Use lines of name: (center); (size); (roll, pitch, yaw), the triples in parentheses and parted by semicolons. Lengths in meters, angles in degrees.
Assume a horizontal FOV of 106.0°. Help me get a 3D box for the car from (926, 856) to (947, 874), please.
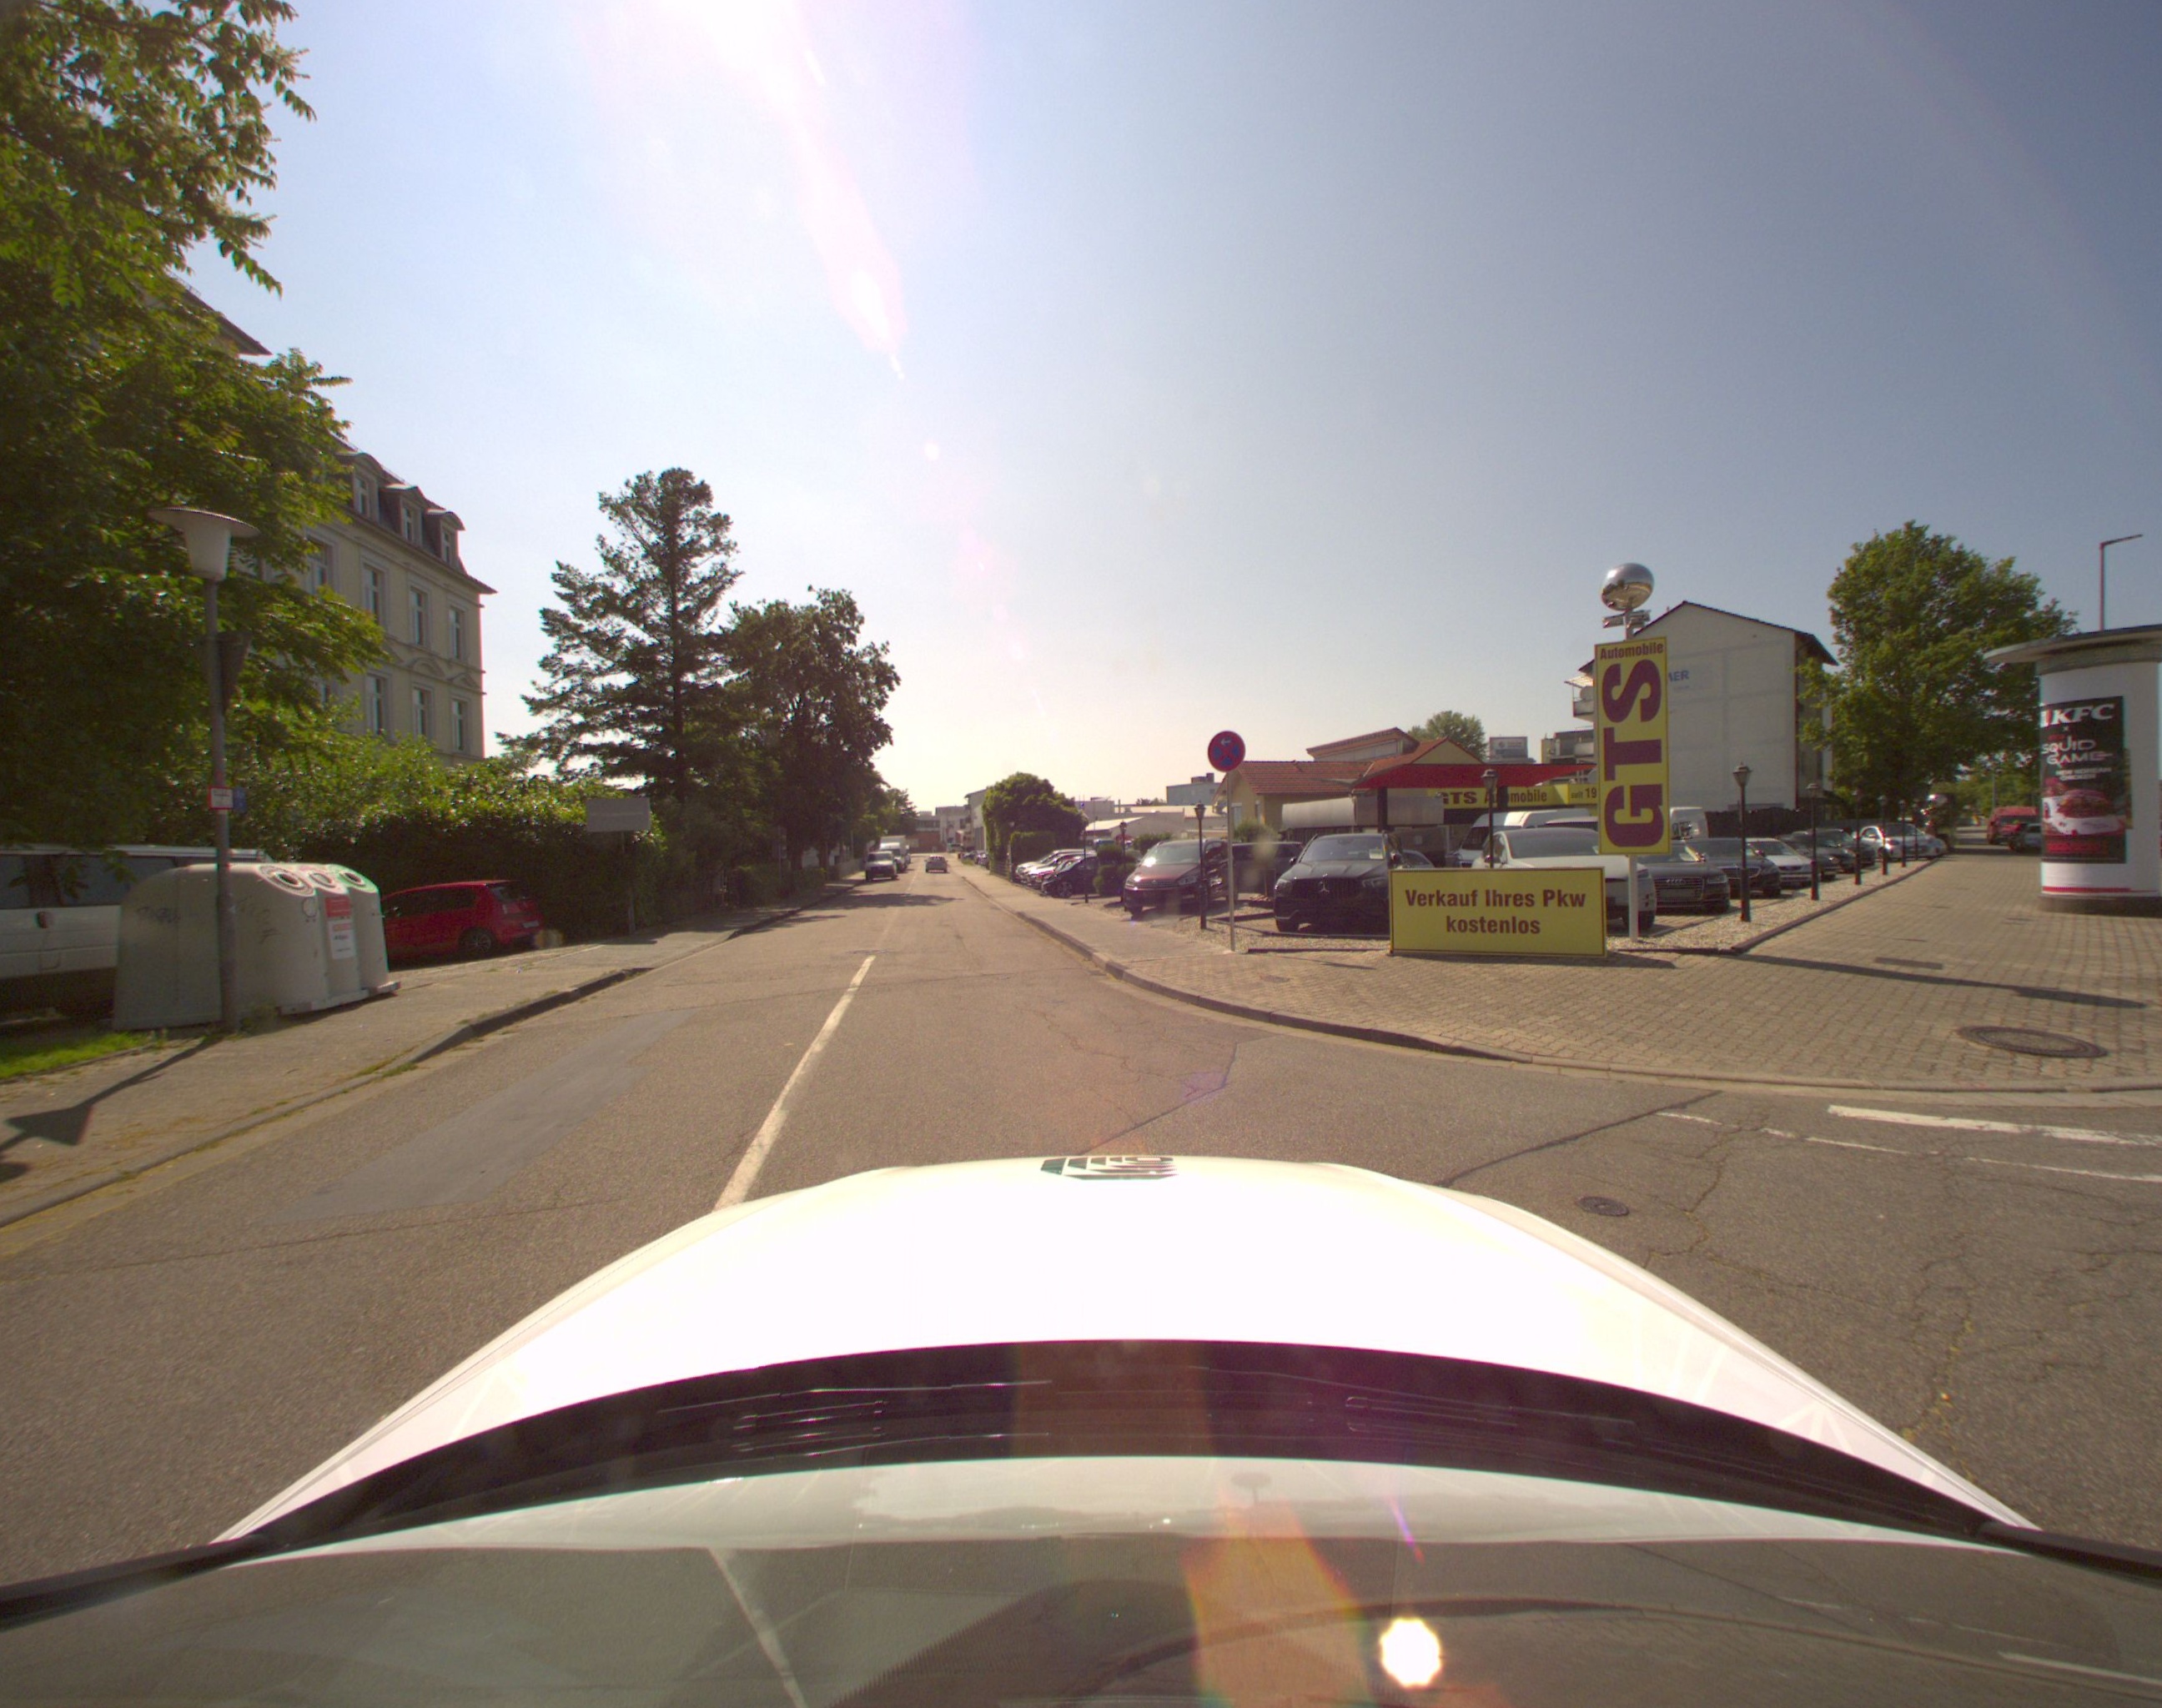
car: (-12.477, 0.912, 70.497); (1.677, 1.493, 4.590); (-1, 0, -10)

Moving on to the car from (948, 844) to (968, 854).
car: (-25.656, -1.104, 169.743); (3.997, 1.909, 1.804); (-1, 1, -18)

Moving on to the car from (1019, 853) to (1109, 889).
car: (-0.850, 0.782, 39.709); (4.117, 1.603, 1.861); (-1, 0, -14)

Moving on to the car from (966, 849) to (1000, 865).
car: (-11.270, 0.359, 93.844); (3.829, 1.763, 1.776); (-1, 0, -11)

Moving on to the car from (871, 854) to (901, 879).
car: (-14.128, 0.874, 59.126); (1.832, 1.692, 3.985); (-1, 0, -11)

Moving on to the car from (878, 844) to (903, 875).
car: (-16.190, 0.441, 69.478); (1.832, 2.504, 3.985); (-1, 0, -11)

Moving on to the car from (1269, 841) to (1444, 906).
car: (7.716, 0.486, 22.725); (4.698, 1.574, 1.898); (-2, 1, -27)

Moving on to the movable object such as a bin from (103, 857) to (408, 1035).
movable object such as a bin: (-8.403, 0.860, 8.482); (1.453, 1.526, 1.767); (-4, -1, -15)

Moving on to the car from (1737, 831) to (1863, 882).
car: (23.424, 0.078, 26.712); (1.653, 1.473, 4.020); (-3, -1, 20)

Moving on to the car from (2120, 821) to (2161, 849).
car: (55.040, -0.964, 41.885); (4.100, 1.415, 1.702); (-1, 0, -42)

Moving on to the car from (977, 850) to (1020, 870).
car: (-7.788, 0.560, 76.624); (3.829, 1.763, 1.849); (-1, 0, -11)

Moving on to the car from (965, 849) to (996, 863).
car: (-12.700, 0.245, 102.826); (3.829, 1.763, 1.776); (-1, 0, -11)

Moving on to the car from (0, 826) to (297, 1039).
car: (-10.710, 0.782, 7.878); (1.881, 1.920, 4.521); (-4, -2, -1)

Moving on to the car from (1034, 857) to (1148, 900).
car: (0.350, 0.925, 31.778); (4.125, 1.489, 1.861); (-1, 0, -14)

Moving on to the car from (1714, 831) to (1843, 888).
car: (20.369, 0.162, 23.988); (1.763, 1.473, 4.023); (-4, -2, 24)

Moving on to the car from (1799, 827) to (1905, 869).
car: (30.666, -0.229, 32.536); (1.652, 1.473, 4.021); (-4, -1, 22)

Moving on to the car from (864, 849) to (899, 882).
car: (-13.330, 0.765, 54.654); (2.034, 2.056, 3.985); (-1, -1, -11)

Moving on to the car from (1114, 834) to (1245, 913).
car: (2.479, 0.414, 19.520); (1.788, 1.656, 4.340); (-2, 0, 25)

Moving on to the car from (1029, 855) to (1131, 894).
car: (-0.062, 0.843, 34.866); (4.050, 1.489, 1.790); (-1, 0, -14)

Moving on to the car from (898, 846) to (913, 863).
car: (-23.393, 0.078, 108.681); (1.832, 2.118, 3.985); (-1, 0, -11)

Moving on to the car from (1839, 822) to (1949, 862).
car: (33.926, -0.489, 34.131); (1.760, 1.473, 4.021); (-3, -1, 22)

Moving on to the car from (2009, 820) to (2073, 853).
car: (48.372, -0.904, 41.030); (4.051, 1.498, 1.854); (-3, 1, -37)

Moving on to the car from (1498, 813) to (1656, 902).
car: (14.543, 0.099, 23.784); (4.845, 2.350, 2.228); (0, -1, -36)

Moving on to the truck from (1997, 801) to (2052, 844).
truck: (62.747, -2.031, 54.260); (5.713, 2.648, 2.218); (-1, 0, -42)

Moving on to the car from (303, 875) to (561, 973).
car: (-12.295, 1.282, 15.642); (3.393, 1.466, 1.690); (-4, 0, -8)

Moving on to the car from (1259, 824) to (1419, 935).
car: (4.867, 0.446, 14.897); (2.023, 1.707, 4.341); (-2, -2, 28)

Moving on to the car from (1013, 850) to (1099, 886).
car: (-1.328, 0.702, 42.208); (4.163, 1.750, 1.883); (-1, 0, -14)

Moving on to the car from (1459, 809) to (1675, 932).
car: (8.003, 0.342, 13.966); (1.960, 1.707, 4.682); (-2, -3, 16)

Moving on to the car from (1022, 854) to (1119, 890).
car: (-0.501, 0.810, 37.215); (4.111, 1.489, 1.861); (-1, 0, -14)

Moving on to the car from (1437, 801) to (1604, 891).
car: (14.919, -0.270, 27.518); (6.176, 2.758, 2.260); (-1, -1, -33)

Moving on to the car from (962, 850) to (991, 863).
car: (-14.438, 0.376, 112.550); (3.861, 1.763, 1.818); (-1, 0, -11)

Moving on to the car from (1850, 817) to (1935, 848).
car: (53.493, -1.432, 53.768); (3.886, 1.958, 1.770); (1, 2, 43)

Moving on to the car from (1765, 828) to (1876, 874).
car: (26.911, -0.097, 29.785); (1.652, 1.473, 4.021); (-3, -1, 22)

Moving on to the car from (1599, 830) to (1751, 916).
car: (11.981, 0.359, 16.713); (1.819, 1.473, 4.024); (-4, -1, 27)

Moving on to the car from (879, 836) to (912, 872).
car: (-18.313, 0.013, 80.823); (2.807, 3.316, 7.754); (-1, 0, -10)

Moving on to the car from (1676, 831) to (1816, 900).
car: (16.325, 0.256, 20.226); (1.819, 1.473, 4.024); (-4, -1, 27)

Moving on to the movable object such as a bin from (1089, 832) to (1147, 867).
movable object such as a bin: (3.216, -0.373, 71.295); (4.815, 2.907, 1.994); (-1, 0, -8)

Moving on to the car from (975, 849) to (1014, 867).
car: (-8.767, 0.357, 82.556); (3.829, 1.763, 1.776); (-1, 0, -11)

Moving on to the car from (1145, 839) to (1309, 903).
car: (4.595, 0.517, 25.602); (4.843, 1.842, 2.170); (-1, 0, 12)

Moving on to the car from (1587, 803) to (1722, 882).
car: (19.580, -0.429, 27.699); (5.747, 2.429, 2.228); (0, 3, -40)
